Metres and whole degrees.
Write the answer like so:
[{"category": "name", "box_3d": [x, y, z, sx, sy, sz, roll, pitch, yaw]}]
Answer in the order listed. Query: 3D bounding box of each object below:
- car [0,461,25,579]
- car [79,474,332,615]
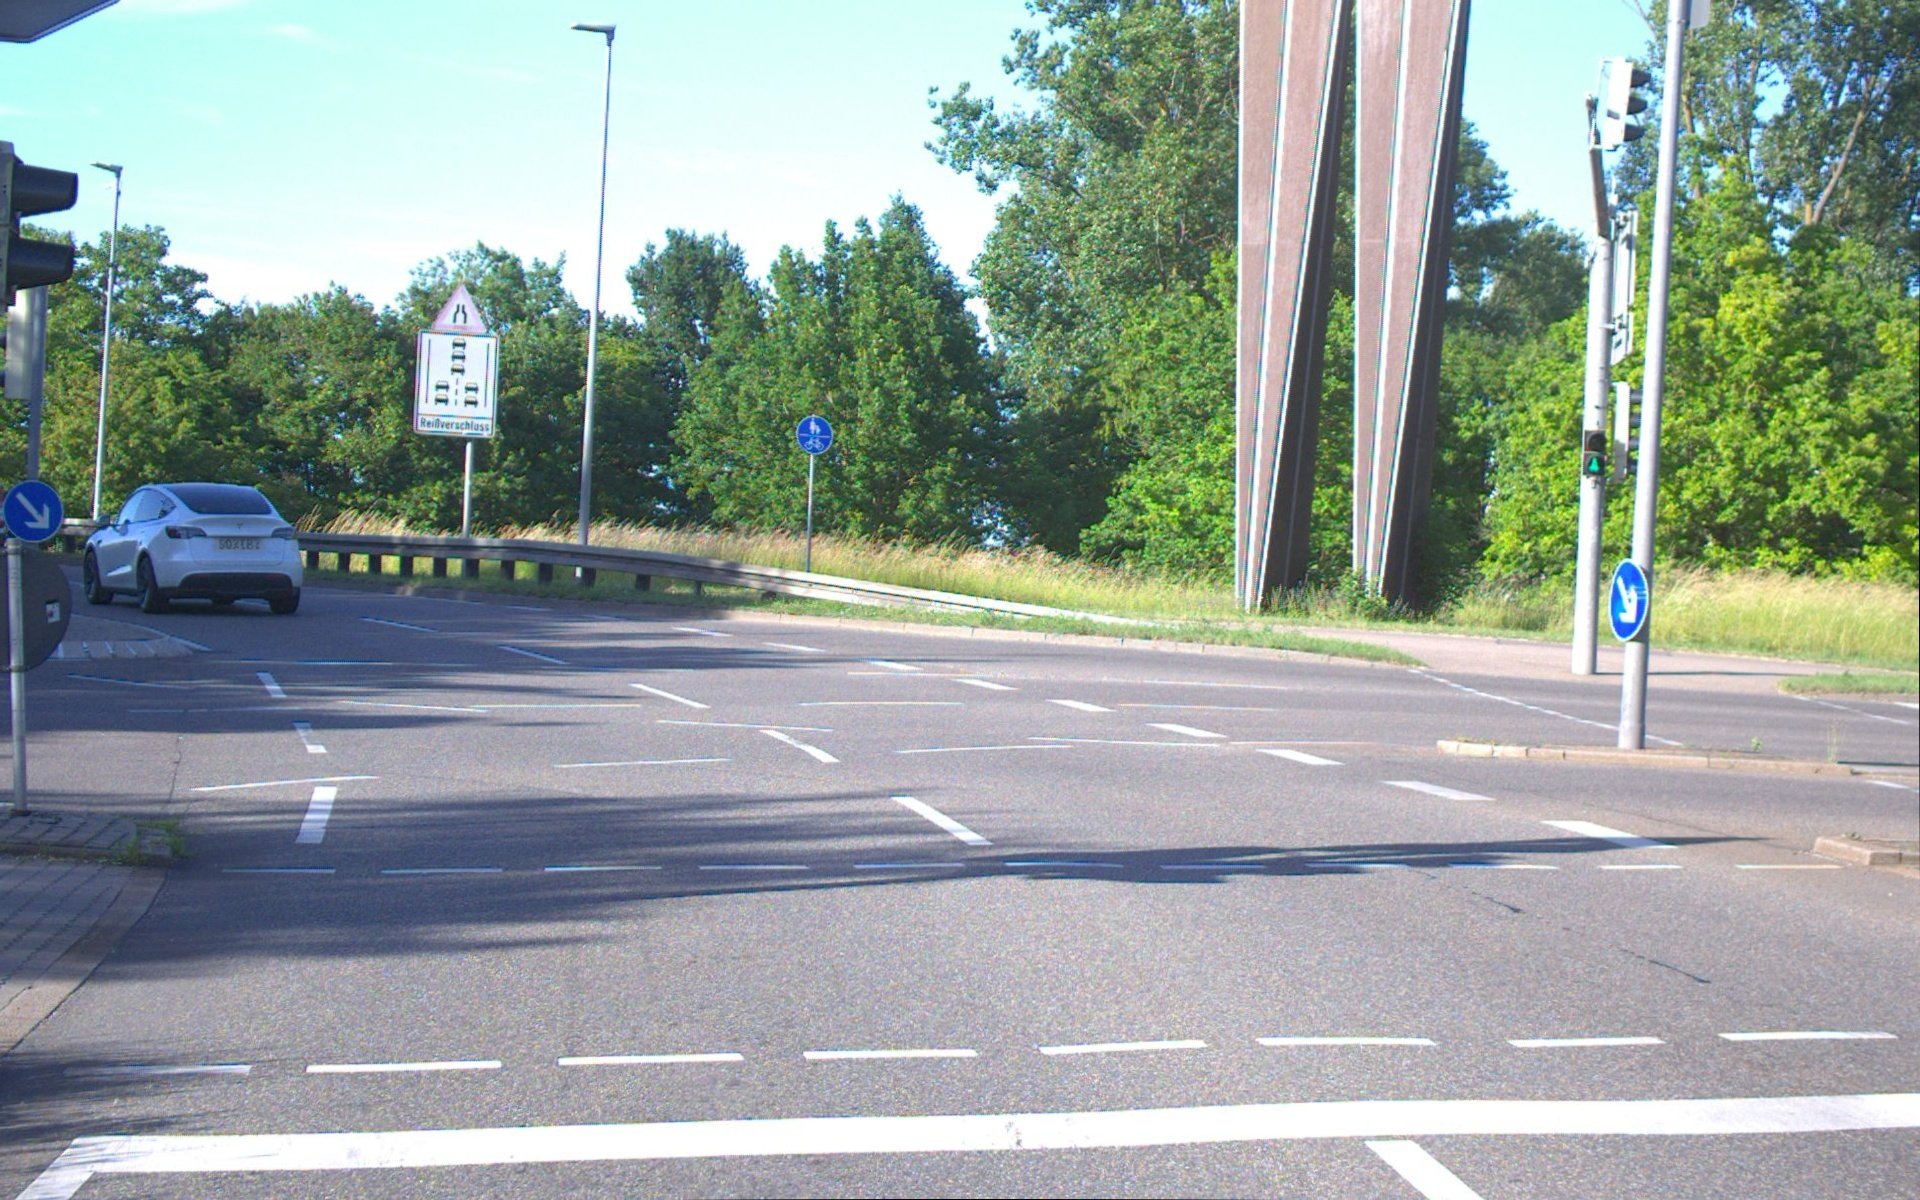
[{"category": "car", "box_3d": [-16.938, -1.378, 56.200, 1.993, 1.873, 4.249, 2, 1, -32]}, {"category": "car", "box_3d": [-9.705, -0.736, 43.996, 1.993, 1.634, 4.129, 2, 1, -29]}]
